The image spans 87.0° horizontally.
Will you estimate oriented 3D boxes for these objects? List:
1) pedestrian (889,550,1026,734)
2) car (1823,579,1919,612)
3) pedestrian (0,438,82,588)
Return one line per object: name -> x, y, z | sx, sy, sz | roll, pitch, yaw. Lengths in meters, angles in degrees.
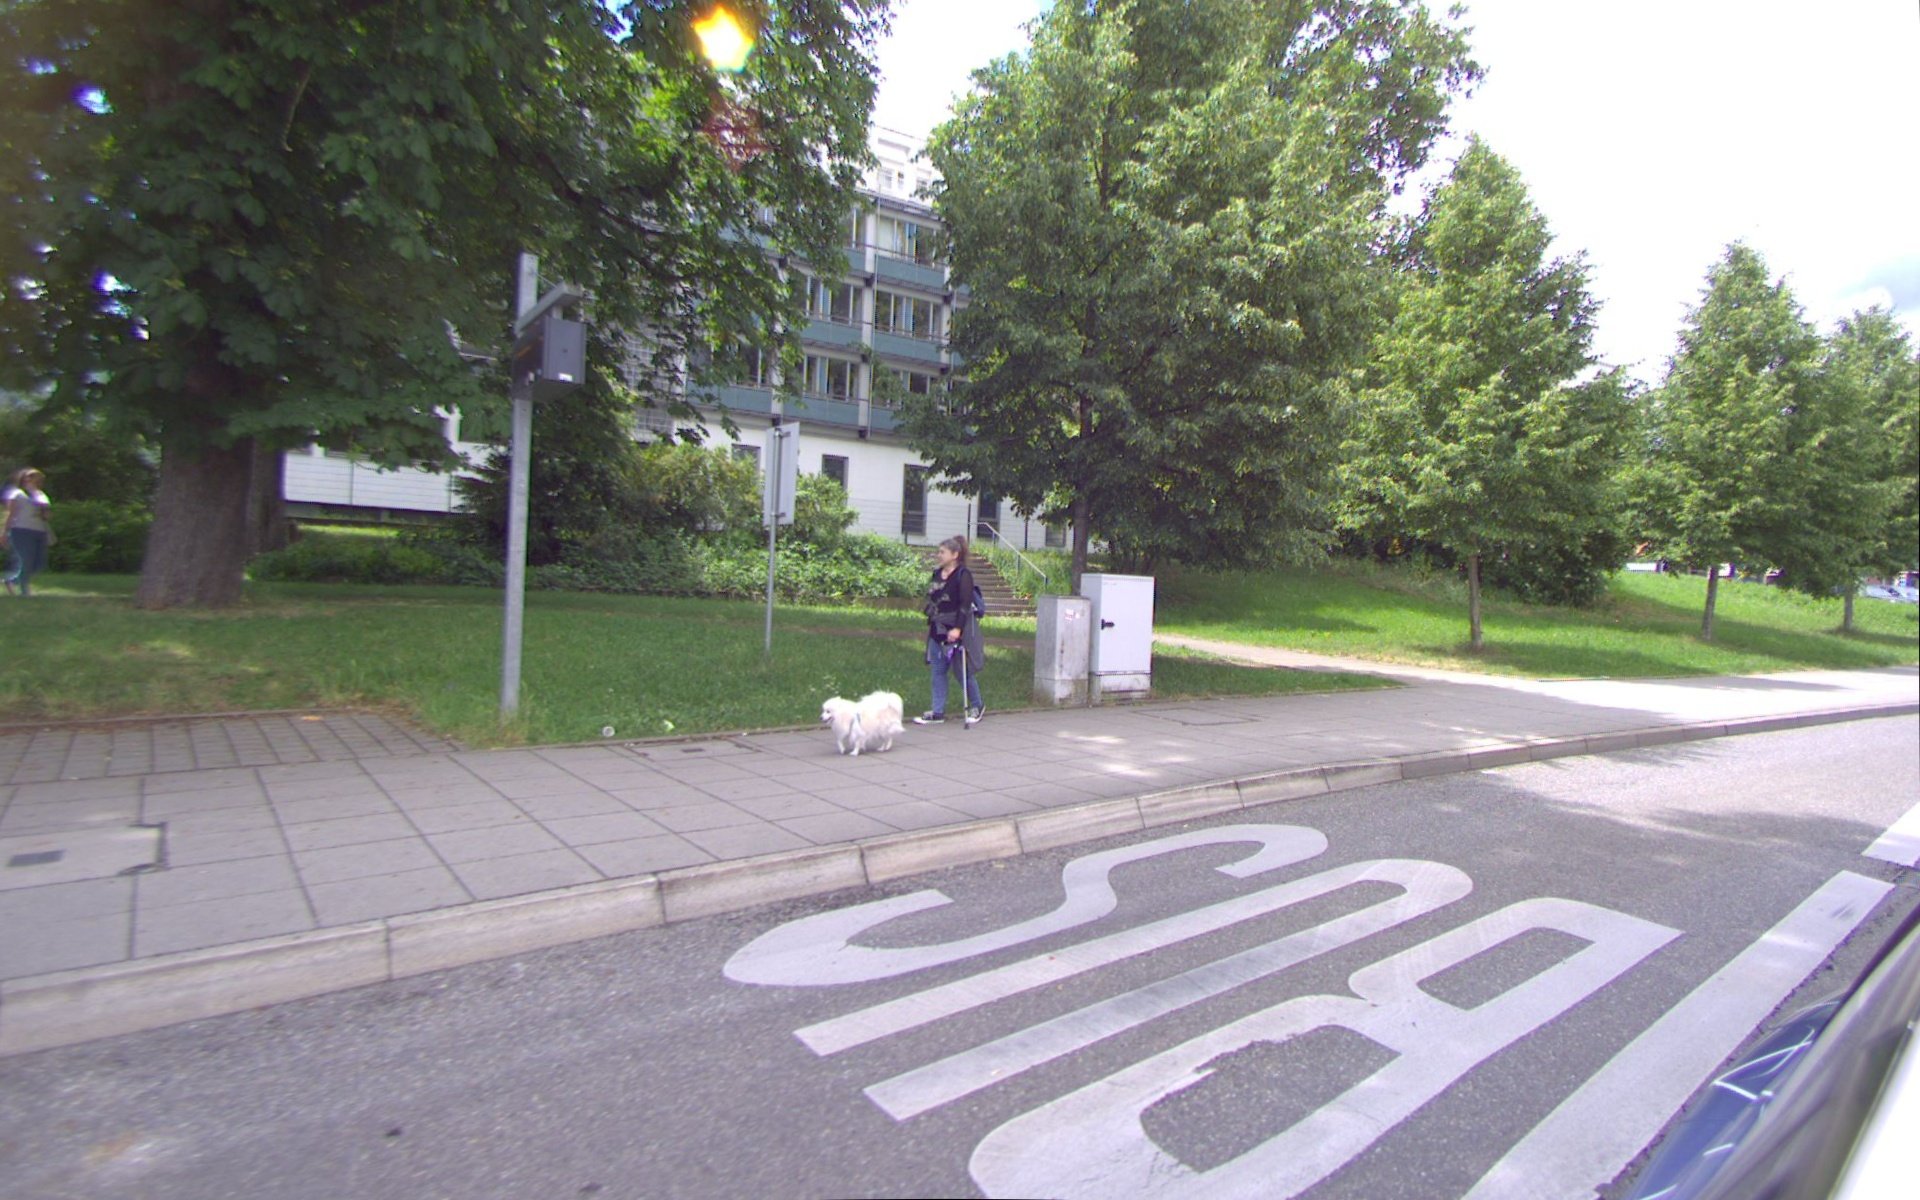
pedestrian -> -0.027, 0.315, 8.525 | 0.814, 1.442, 0.822 | 0, 2, -34
car -> 46.523, -0.255, 50.997 | 2.011, 1.483, 4.332 | 1, 2, -9
pedestrian -> -11.646, -1.060, 12.588 | 0.840, 1.782, 0.991 | 1, 1, -24
